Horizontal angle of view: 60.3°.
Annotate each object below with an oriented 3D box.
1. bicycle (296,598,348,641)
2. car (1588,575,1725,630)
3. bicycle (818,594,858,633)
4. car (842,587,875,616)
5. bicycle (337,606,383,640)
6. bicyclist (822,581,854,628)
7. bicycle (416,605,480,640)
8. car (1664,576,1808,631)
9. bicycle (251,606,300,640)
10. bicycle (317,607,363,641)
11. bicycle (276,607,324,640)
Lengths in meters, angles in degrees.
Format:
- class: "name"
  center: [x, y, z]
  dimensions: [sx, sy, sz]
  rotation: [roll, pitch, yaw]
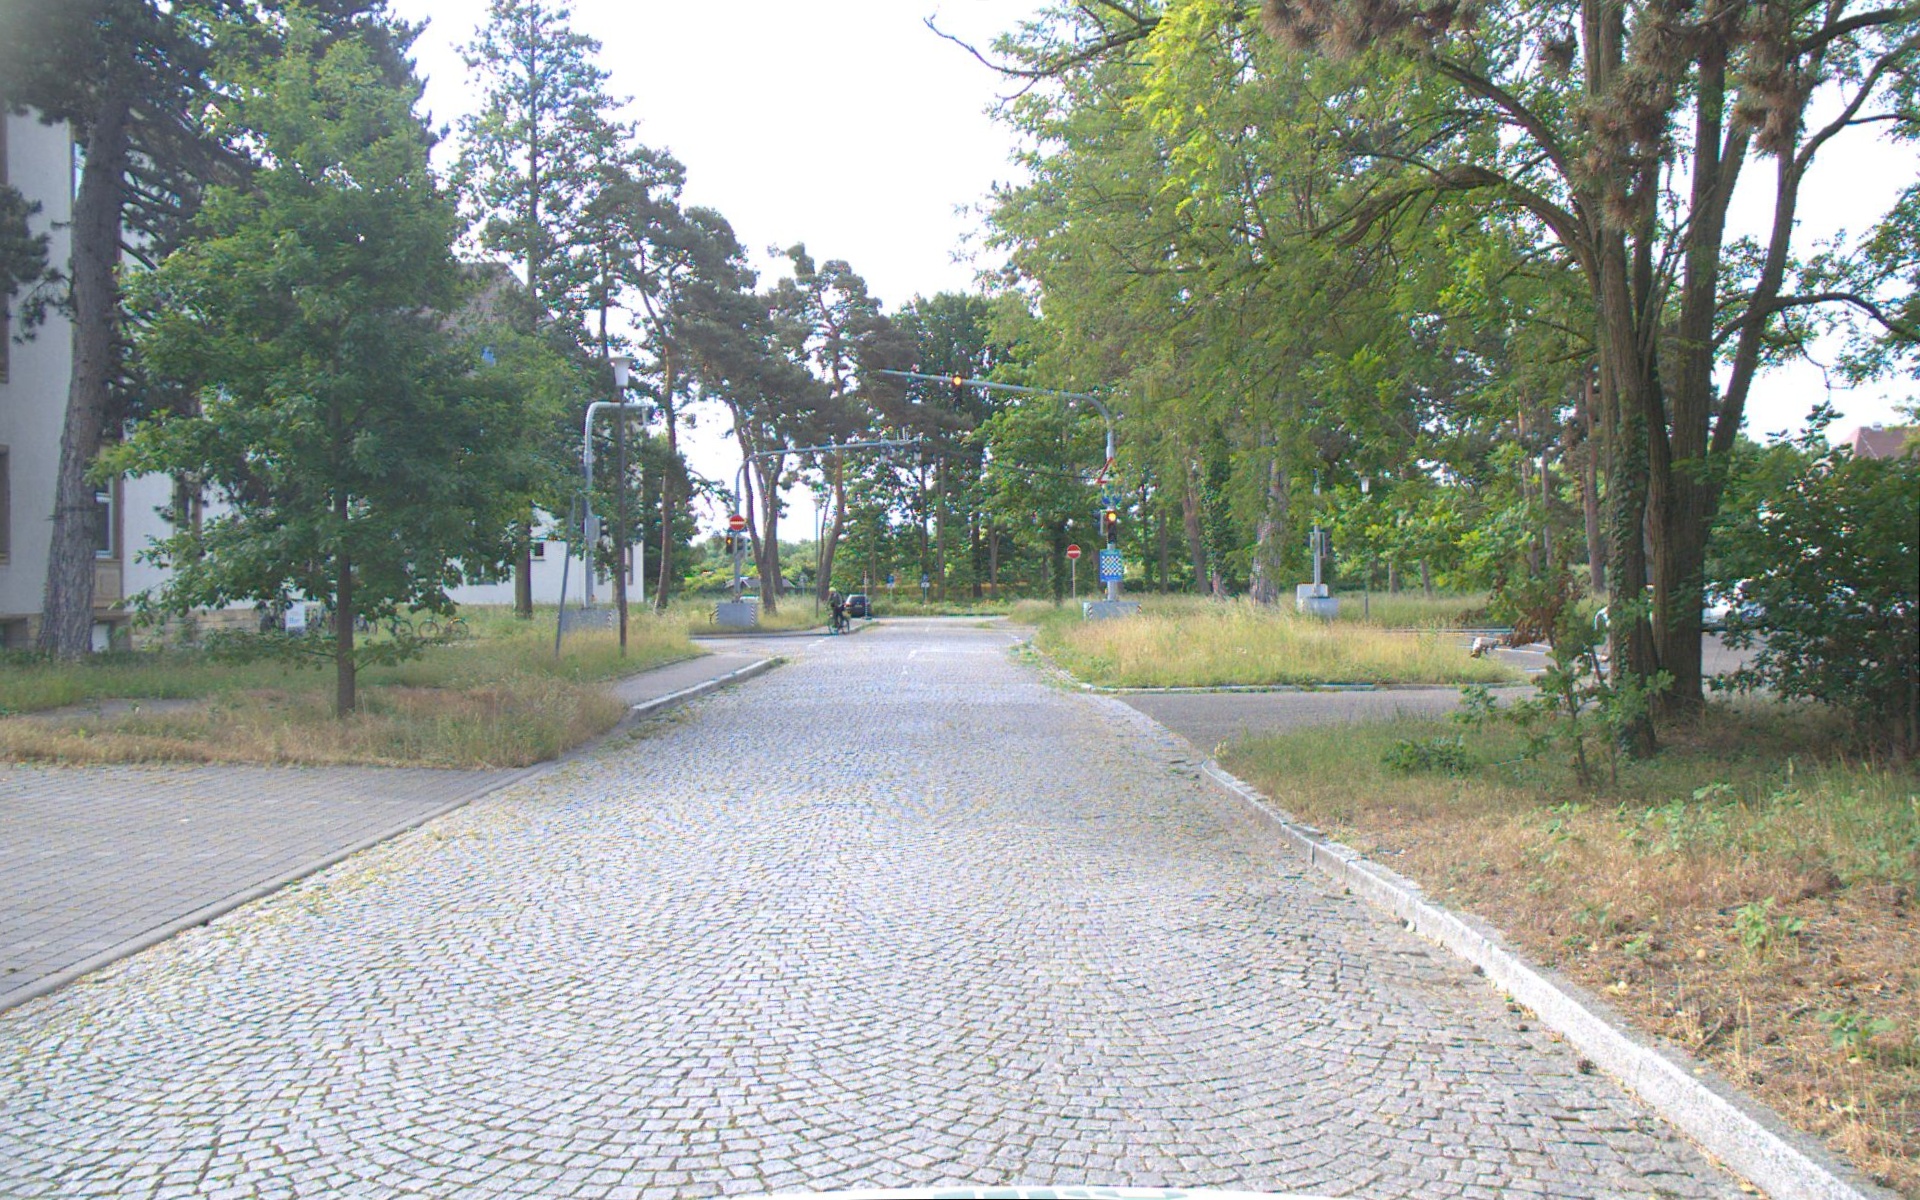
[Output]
- class: "bicycle"
  center: [-21.634, 0.643, 56.145]
  dimensions: [0.721, 1.410, 2.711]
  rotation: [-1, 0, 0]
- class: "car"
  center: [20.622, 0.102, 49.165]
  dimensions: [1.954, 1.507, 4.421]
  rotation: [-1, -1, -4]
- class: "bicycle"
  center: [-4.522, 0.495, 61.402]
  dimensions: [0.916, 1.411, 2.188]
  rotation: [-1, 0, 11]
- class: "car"
  center: [-6.873, 0.073, 112.237]
  dimensions: [2.014, 1.878, 3.999]
  rotation: [-1, 0, -2]
- class: "bicycle"
  center: [-20.270, 0.774, 55.893]
  dimensions: [0.721, 1.095, 2.273]
  rotation: [-1, 0, 0]
- class: "bicyclist"
  center: [-4.528, 0.167, 61.406]
  dimensions: [0.933, 1.727, 0.924]
  rotation: [-1, -1, 11]
- class: "bicycle"
  center: [-16.943, 0.744, 54.736]
  dimensions: [1.818, 1.095, 0.831]
  rotation: [-1, 0, 1]
- class: "car"
  center: [23.086, 0.137, 49.386]
  dimensions: [1.954, 1.507, 4.421]
  rotation: [-1, -1, -4]
- class: "bicycle"
  center: [-23.047, 0.767, 55.737]
  dimensions: [0.721, 1.095, 2.273]
  rotation: [-1, 0, 0]
- class: "bicycle"
  center: [-20.898, 0.788, 55.802]
  dimensions: [0.721, 1.095, 2.273]
  rotation: [-1, 0, 0]
- class: "bicycle"
  center: [-22.420, 0.785, 56.241]
  dimensions: [0.721, 1.095, 2.273]
  rotation: [-1, 0, 0]
